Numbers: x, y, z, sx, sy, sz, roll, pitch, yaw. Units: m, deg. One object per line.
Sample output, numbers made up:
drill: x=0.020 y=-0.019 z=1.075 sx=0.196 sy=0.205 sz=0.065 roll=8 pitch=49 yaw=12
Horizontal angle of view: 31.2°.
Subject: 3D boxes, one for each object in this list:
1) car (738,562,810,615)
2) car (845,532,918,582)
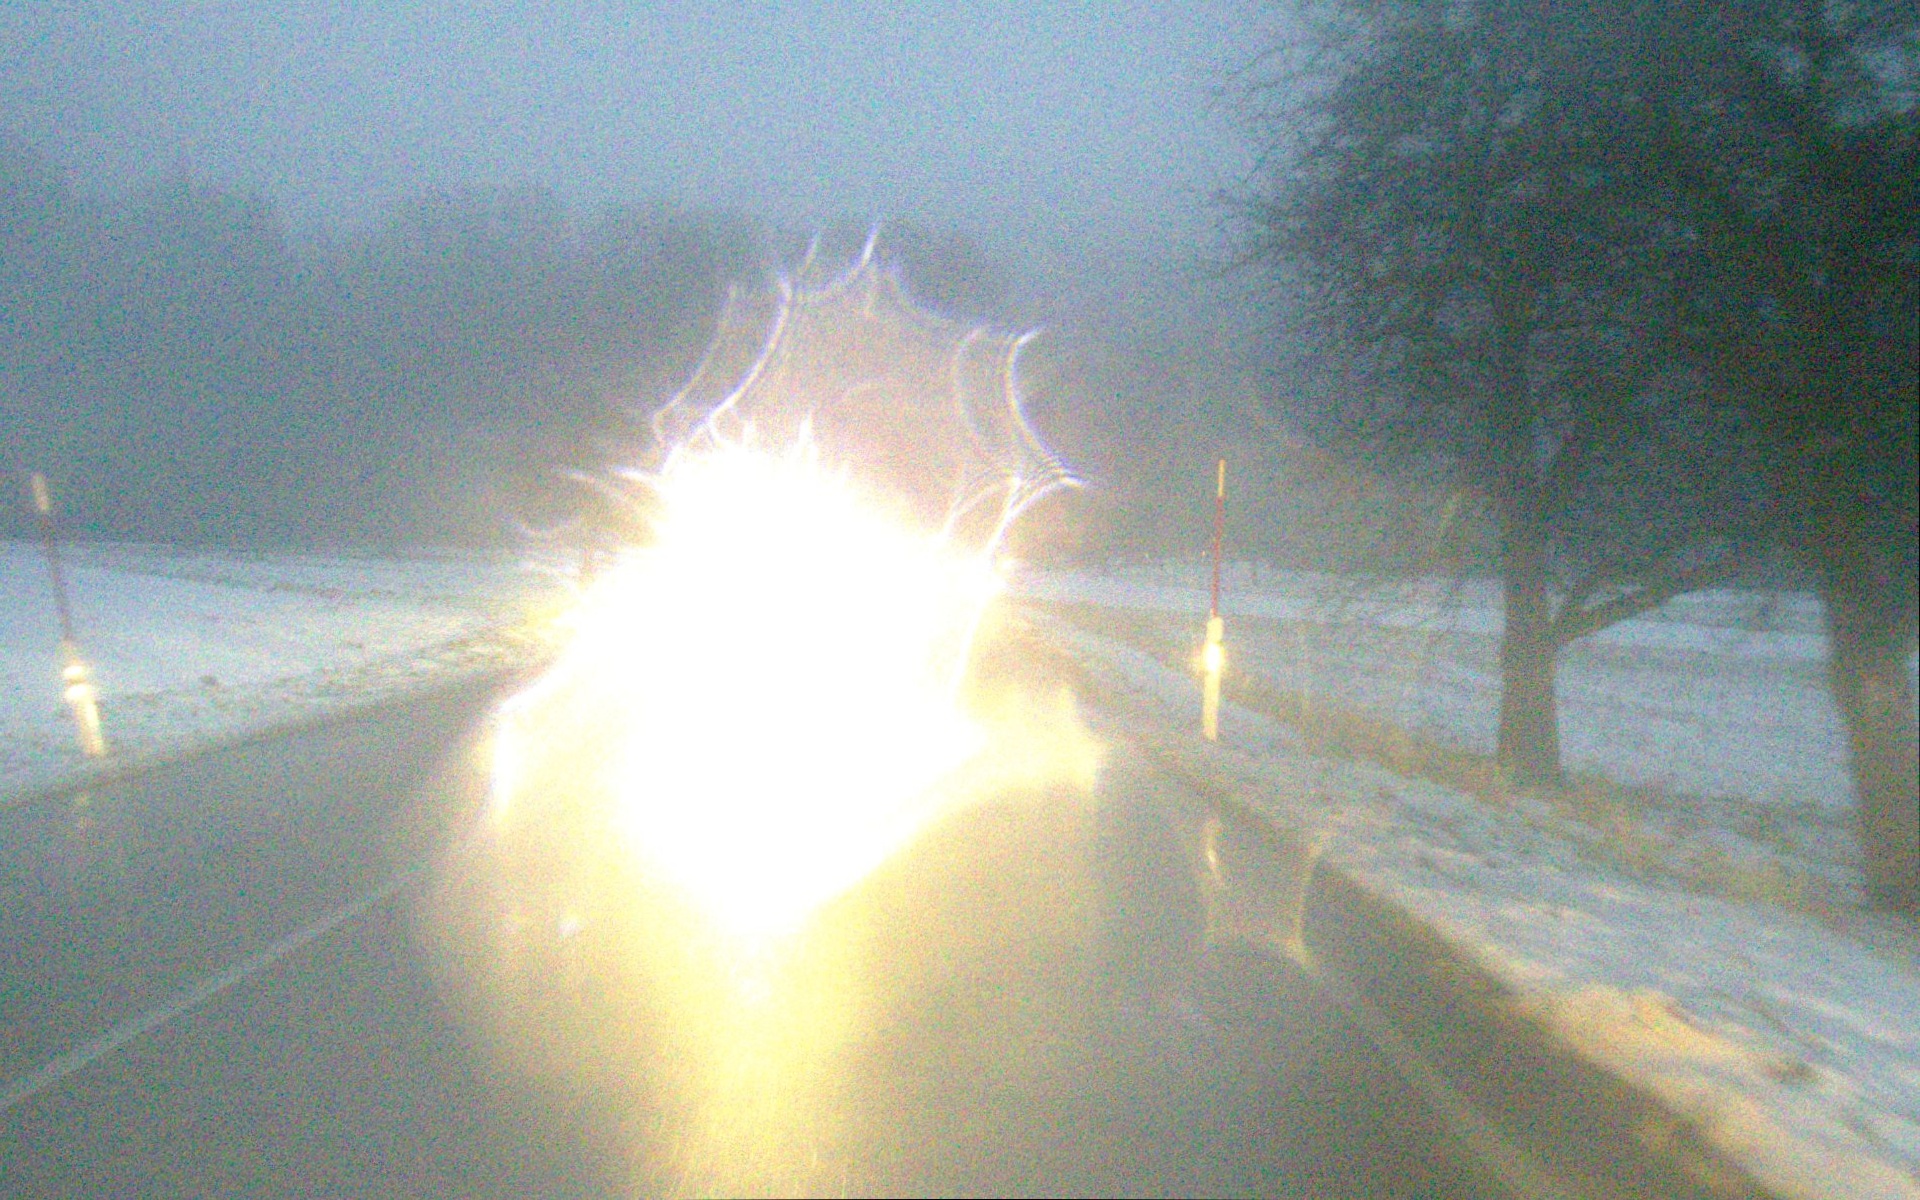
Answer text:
car: x=-4.971 y=-0.332 z=92.116 sx=1.727 sy=1.341 sz=4.222 roll=-1 pitch=1 yaw=-1
car: x=-3.403 y=-1.875 z=150.077 sx=1.995 sy=2.044 sz=3.997 roll=4 pitch=2 yaw=15
